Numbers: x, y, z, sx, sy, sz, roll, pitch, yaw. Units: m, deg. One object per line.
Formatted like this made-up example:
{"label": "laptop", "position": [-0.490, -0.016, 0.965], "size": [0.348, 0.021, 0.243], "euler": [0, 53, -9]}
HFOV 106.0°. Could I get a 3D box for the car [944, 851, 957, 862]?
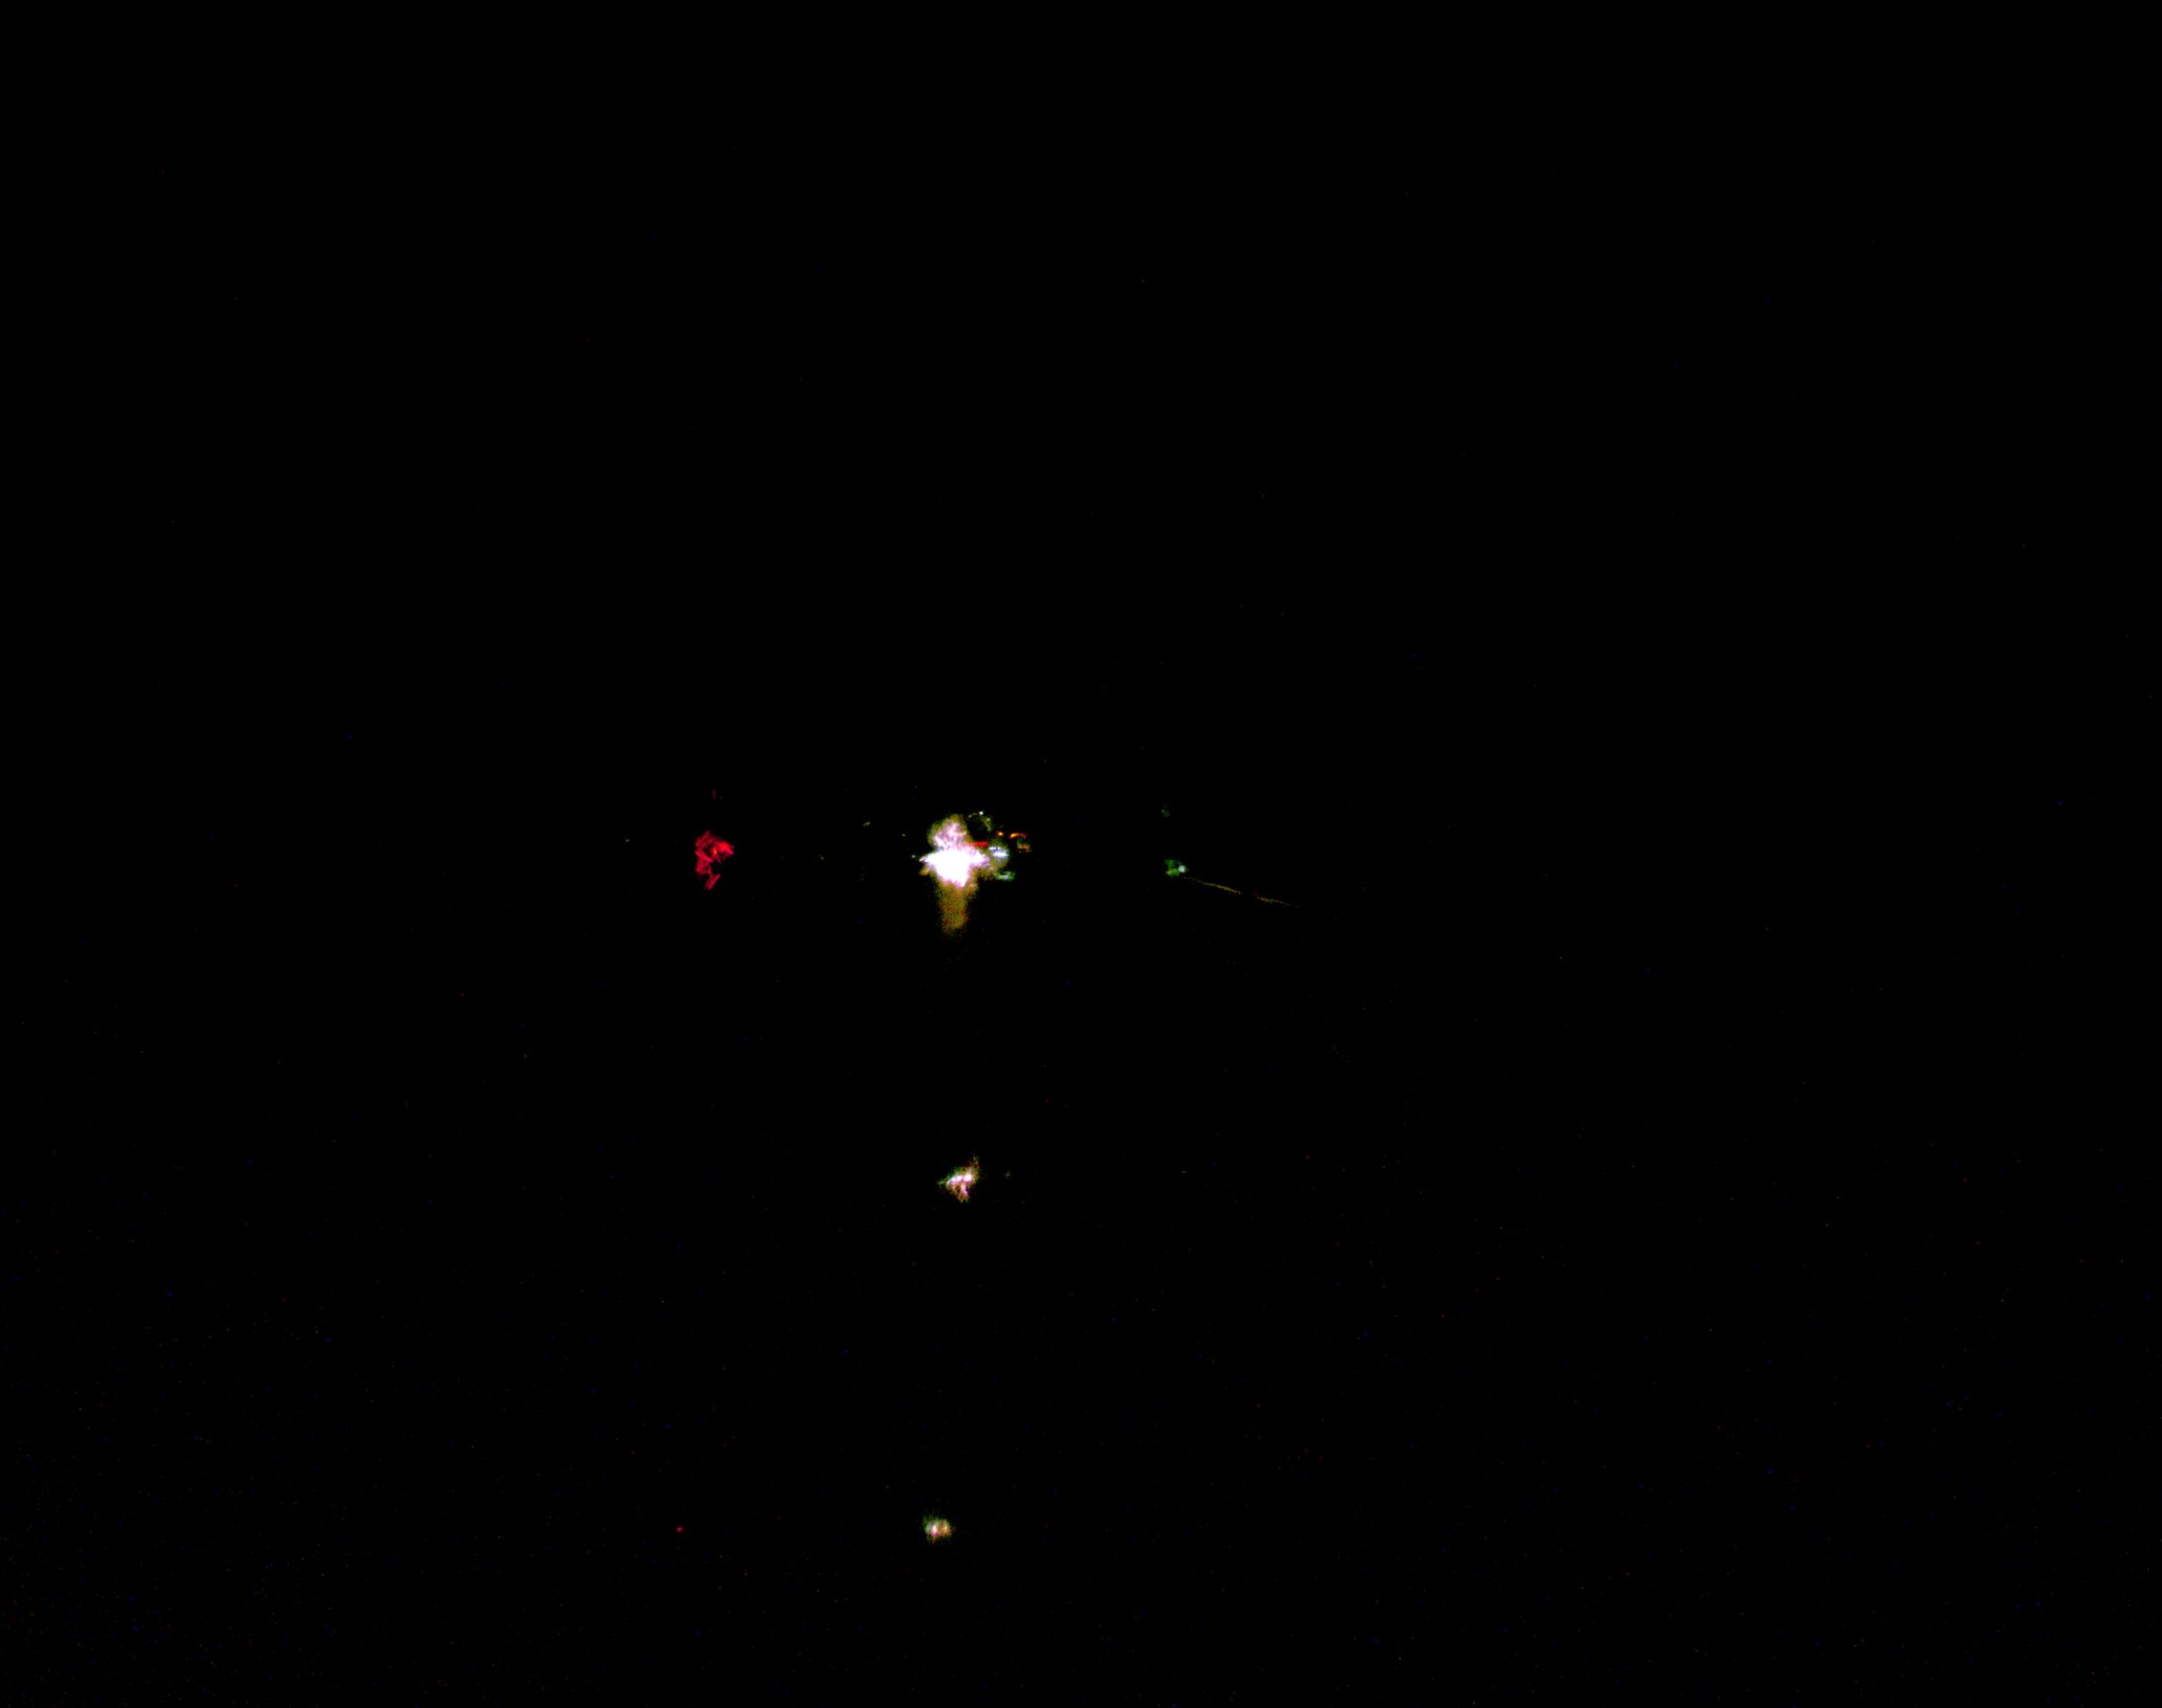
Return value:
{"label": "car", "position": [-19.332, 0.402, 120.707], "size": [1.881, 1.600, 3.886], "euler": [-1, 0, -10]}
